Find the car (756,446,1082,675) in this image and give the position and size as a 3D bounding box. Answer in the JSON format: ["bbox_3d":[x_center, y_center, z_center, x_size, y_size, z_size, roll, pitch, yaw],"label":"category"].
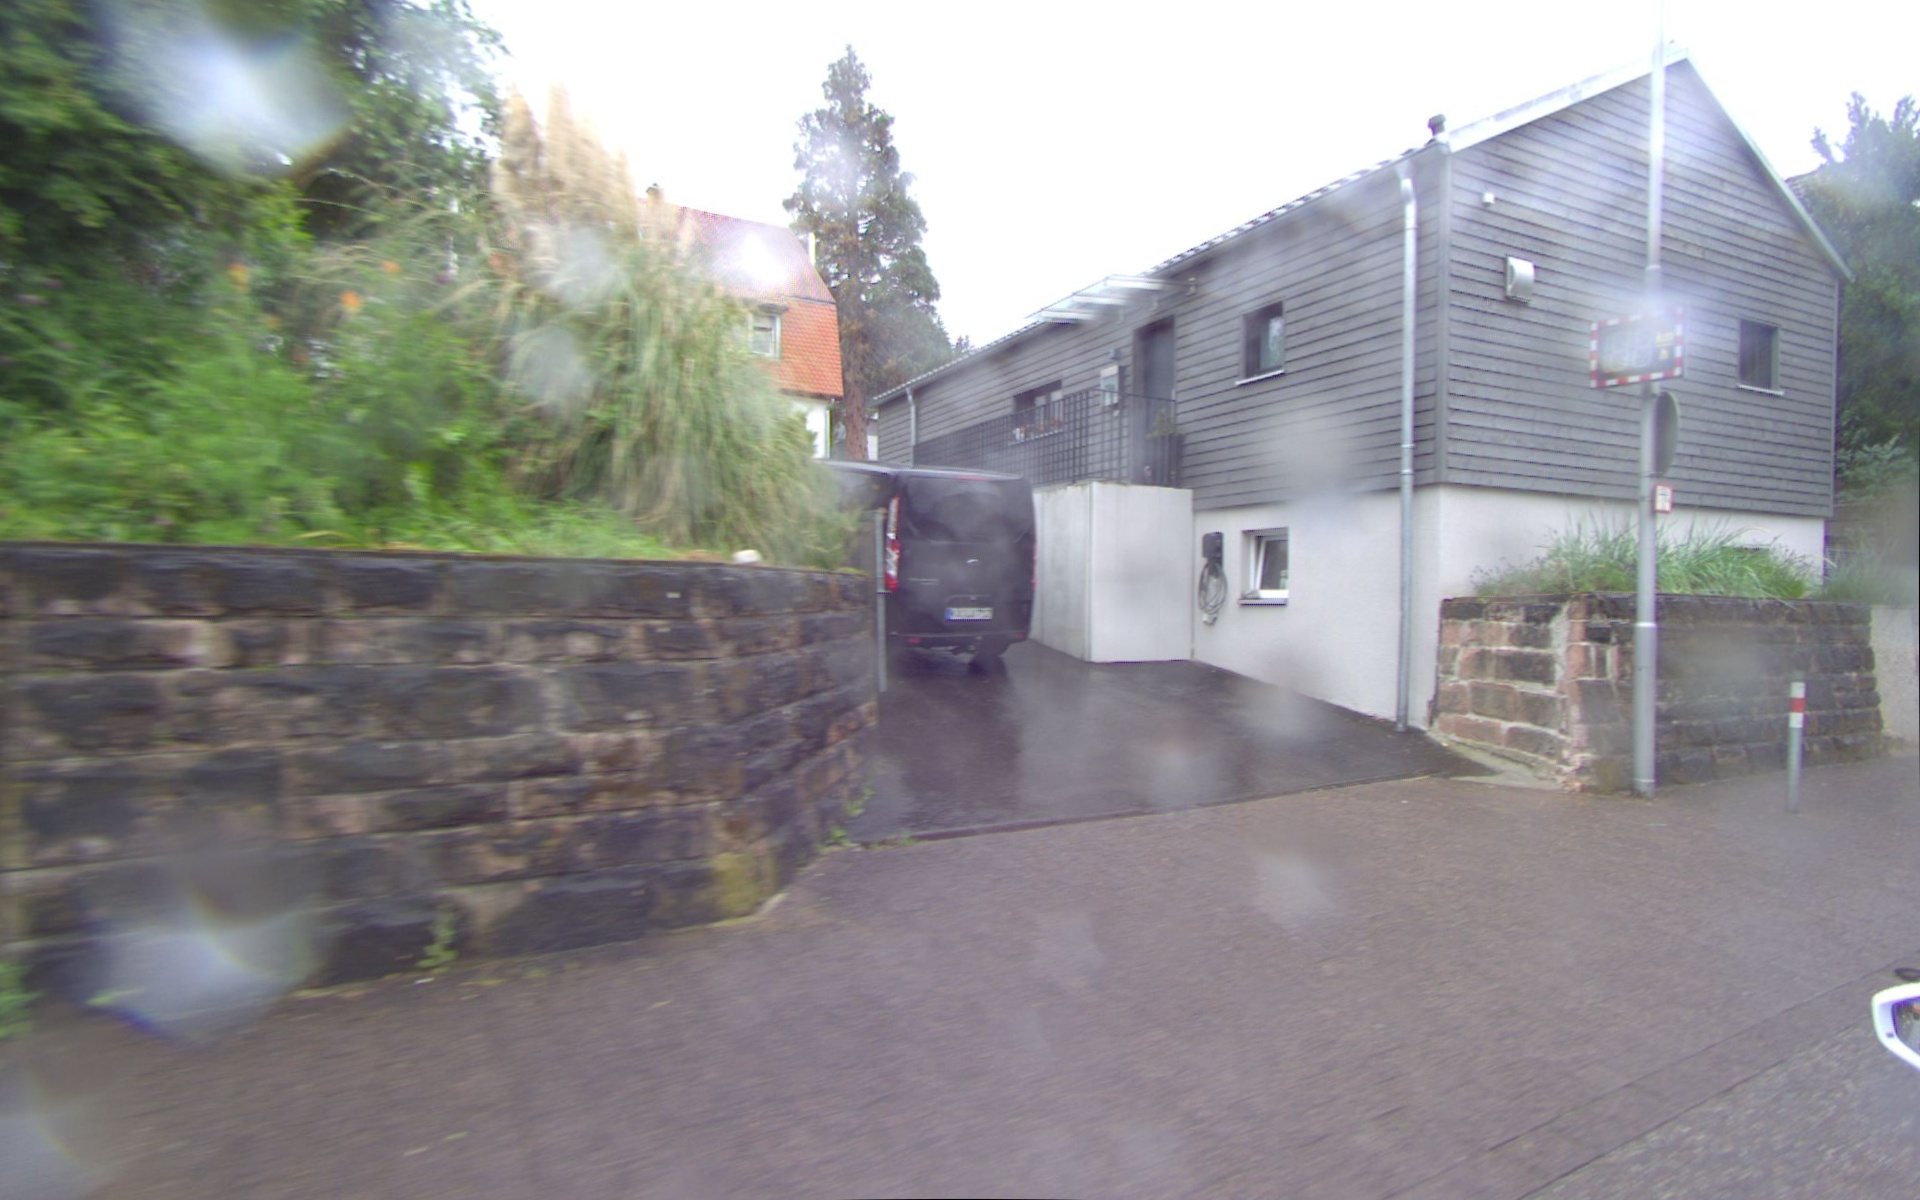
[{"bbox_3d":[-0.680,-0.584,11.322,1.976,1.992,3.968,1,8,-29],"label":"car"}]
